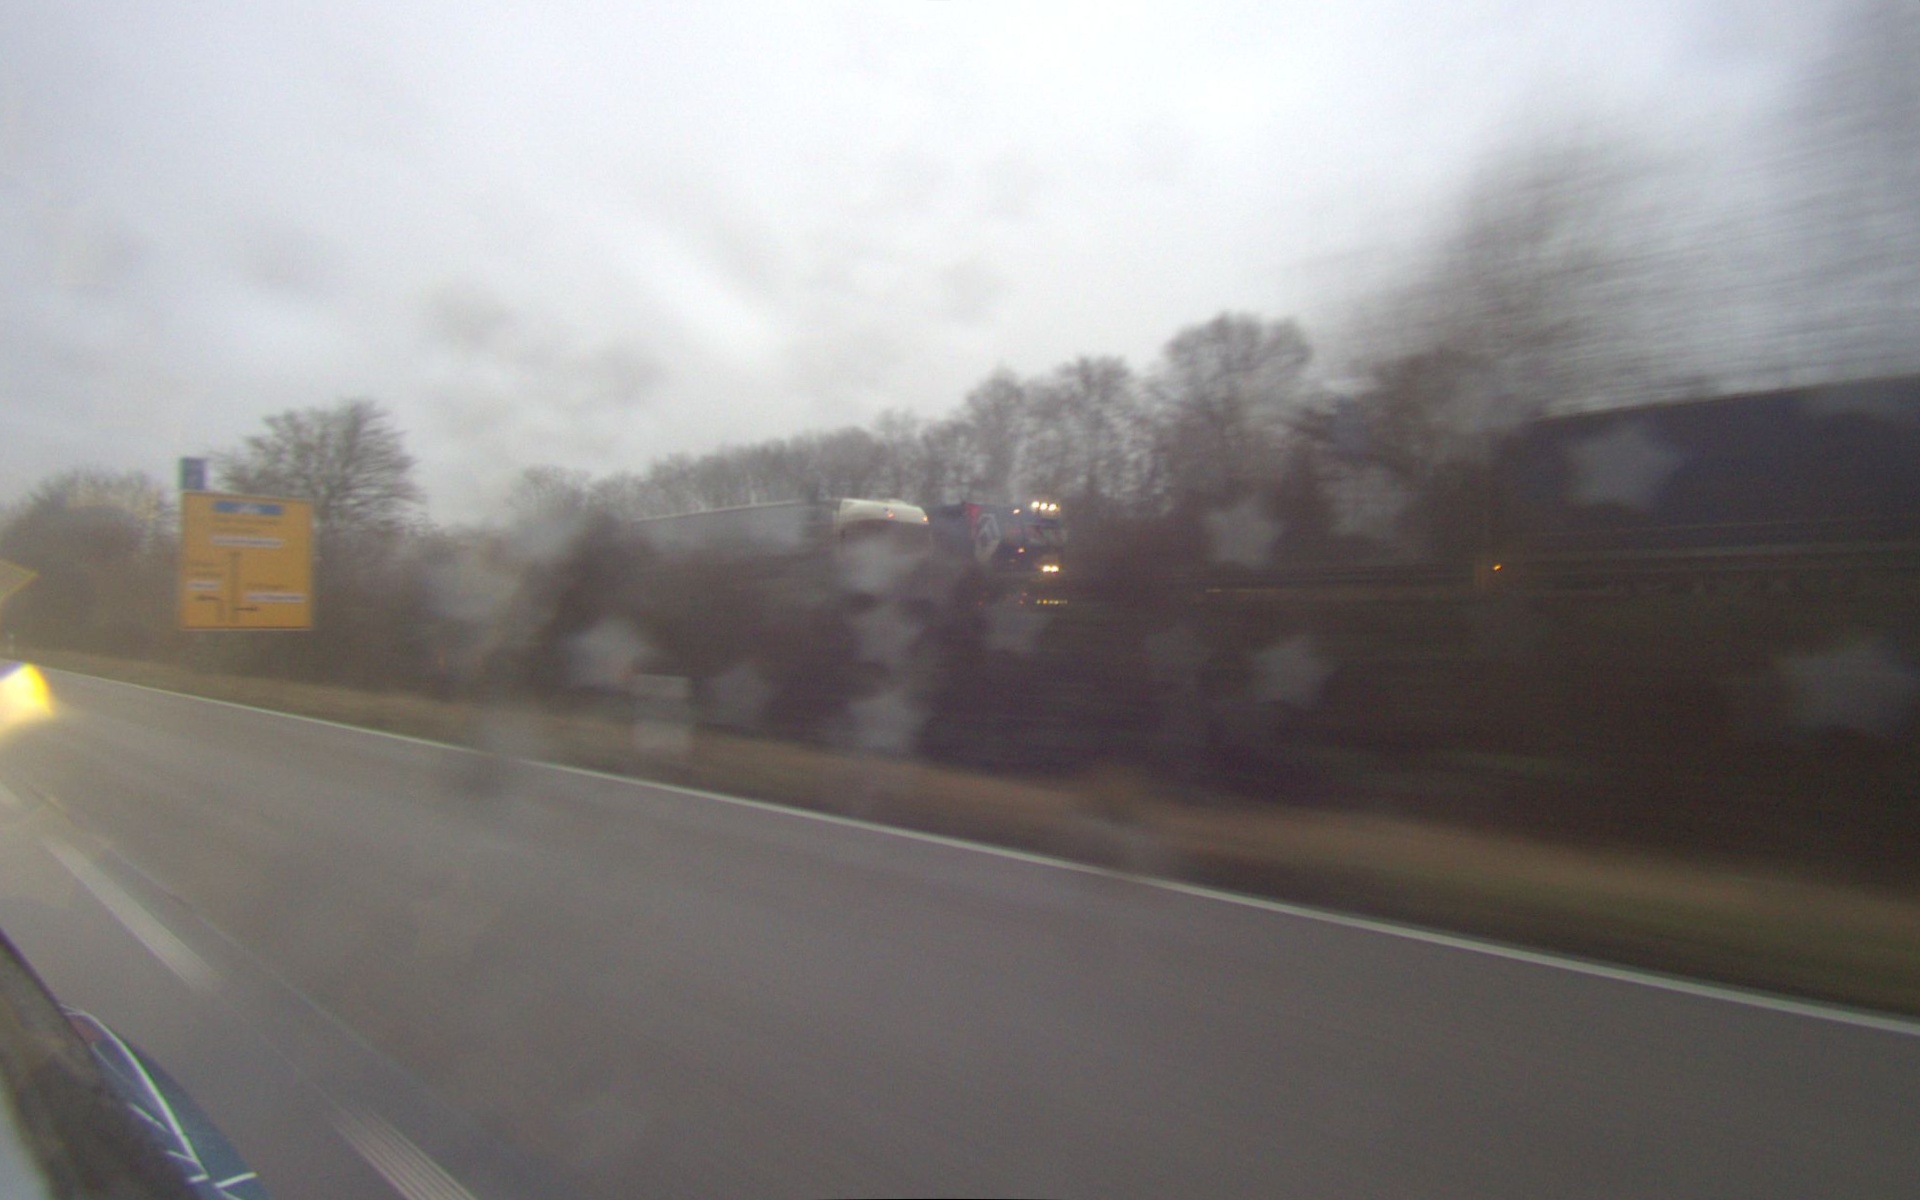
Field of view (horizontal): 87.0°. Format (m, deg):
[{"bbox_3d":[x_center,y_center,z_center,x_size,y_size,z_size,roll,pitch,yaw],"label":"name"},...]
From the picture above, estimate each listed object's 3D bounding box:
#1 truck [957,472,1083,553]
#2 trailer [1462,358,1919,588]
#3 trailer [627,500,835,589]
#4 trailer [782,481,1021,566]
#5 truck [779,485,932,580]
[{"bbox_3d":[2.191,-3.136,37.443,3.998,2.454,2.503,-2,-3,42],"label":"truck"},{"bbox_3d":[16.325,-2.289,19.622,11.380,3.661,2.967,-2,-2,41],"label":"trailer"},{"bbox_3d":[-9.818,-2.115,42.129,11.080,2.913,2.410,-2,-2,41],"label":"trailer"},{"bbox_3d":[-2.753,-2.969,41.827,11.497,2.443,2.482,-2,-3,42],"label":"trailer"},{"bbox_3d":[-3.880,-2.325,36.901,5.580,2.909,2.424,-2,-2,41],"label":"truck"}]
